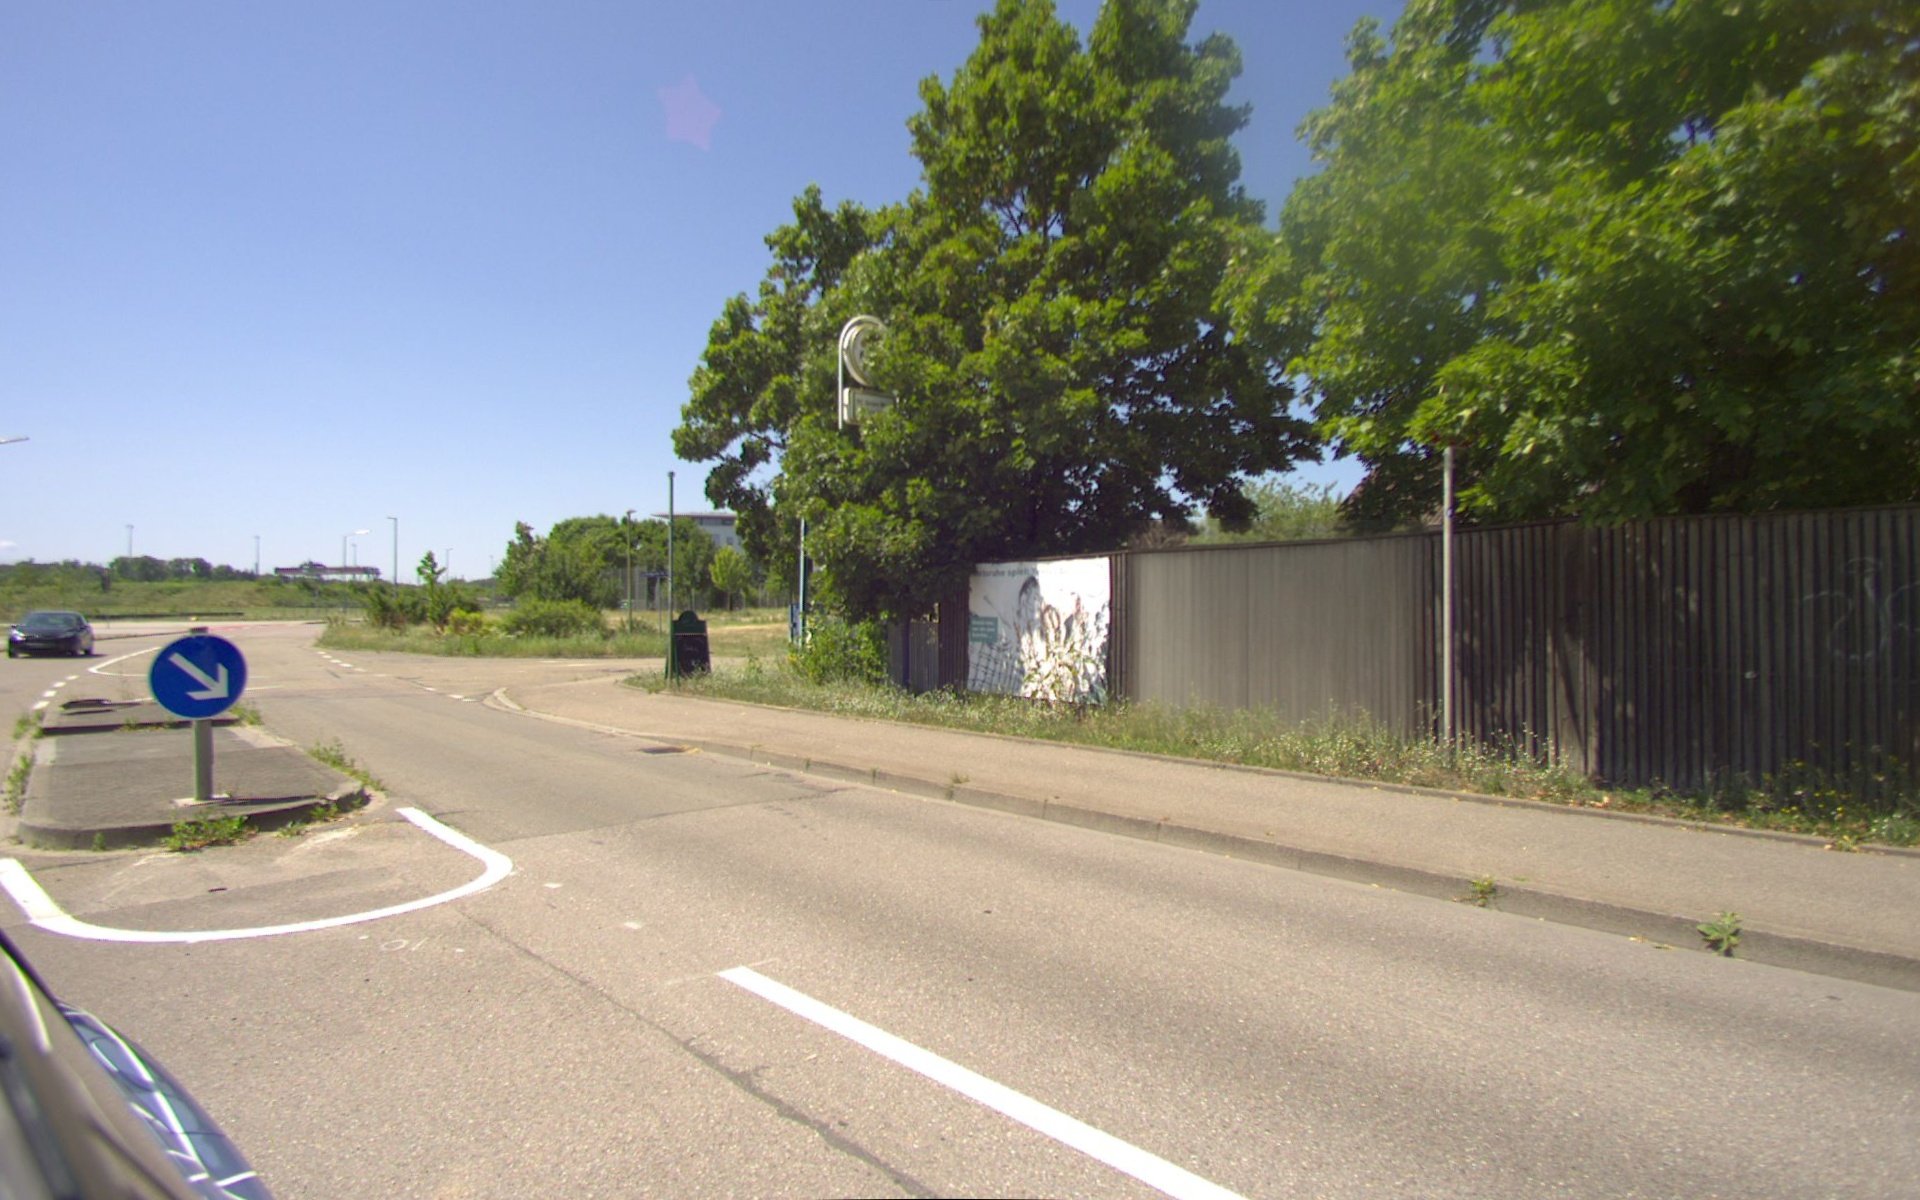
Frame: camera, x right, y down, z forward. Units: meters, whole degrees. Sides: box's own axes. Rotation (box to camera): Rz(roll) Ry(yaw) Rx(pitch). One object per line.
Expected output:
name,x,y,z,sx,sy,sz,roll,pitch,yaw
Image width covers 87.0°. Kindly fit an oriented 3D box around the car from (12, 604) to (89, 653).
car,-28.752,0.858,32.072,1.629,1.478,4.167,1,-1,-40
